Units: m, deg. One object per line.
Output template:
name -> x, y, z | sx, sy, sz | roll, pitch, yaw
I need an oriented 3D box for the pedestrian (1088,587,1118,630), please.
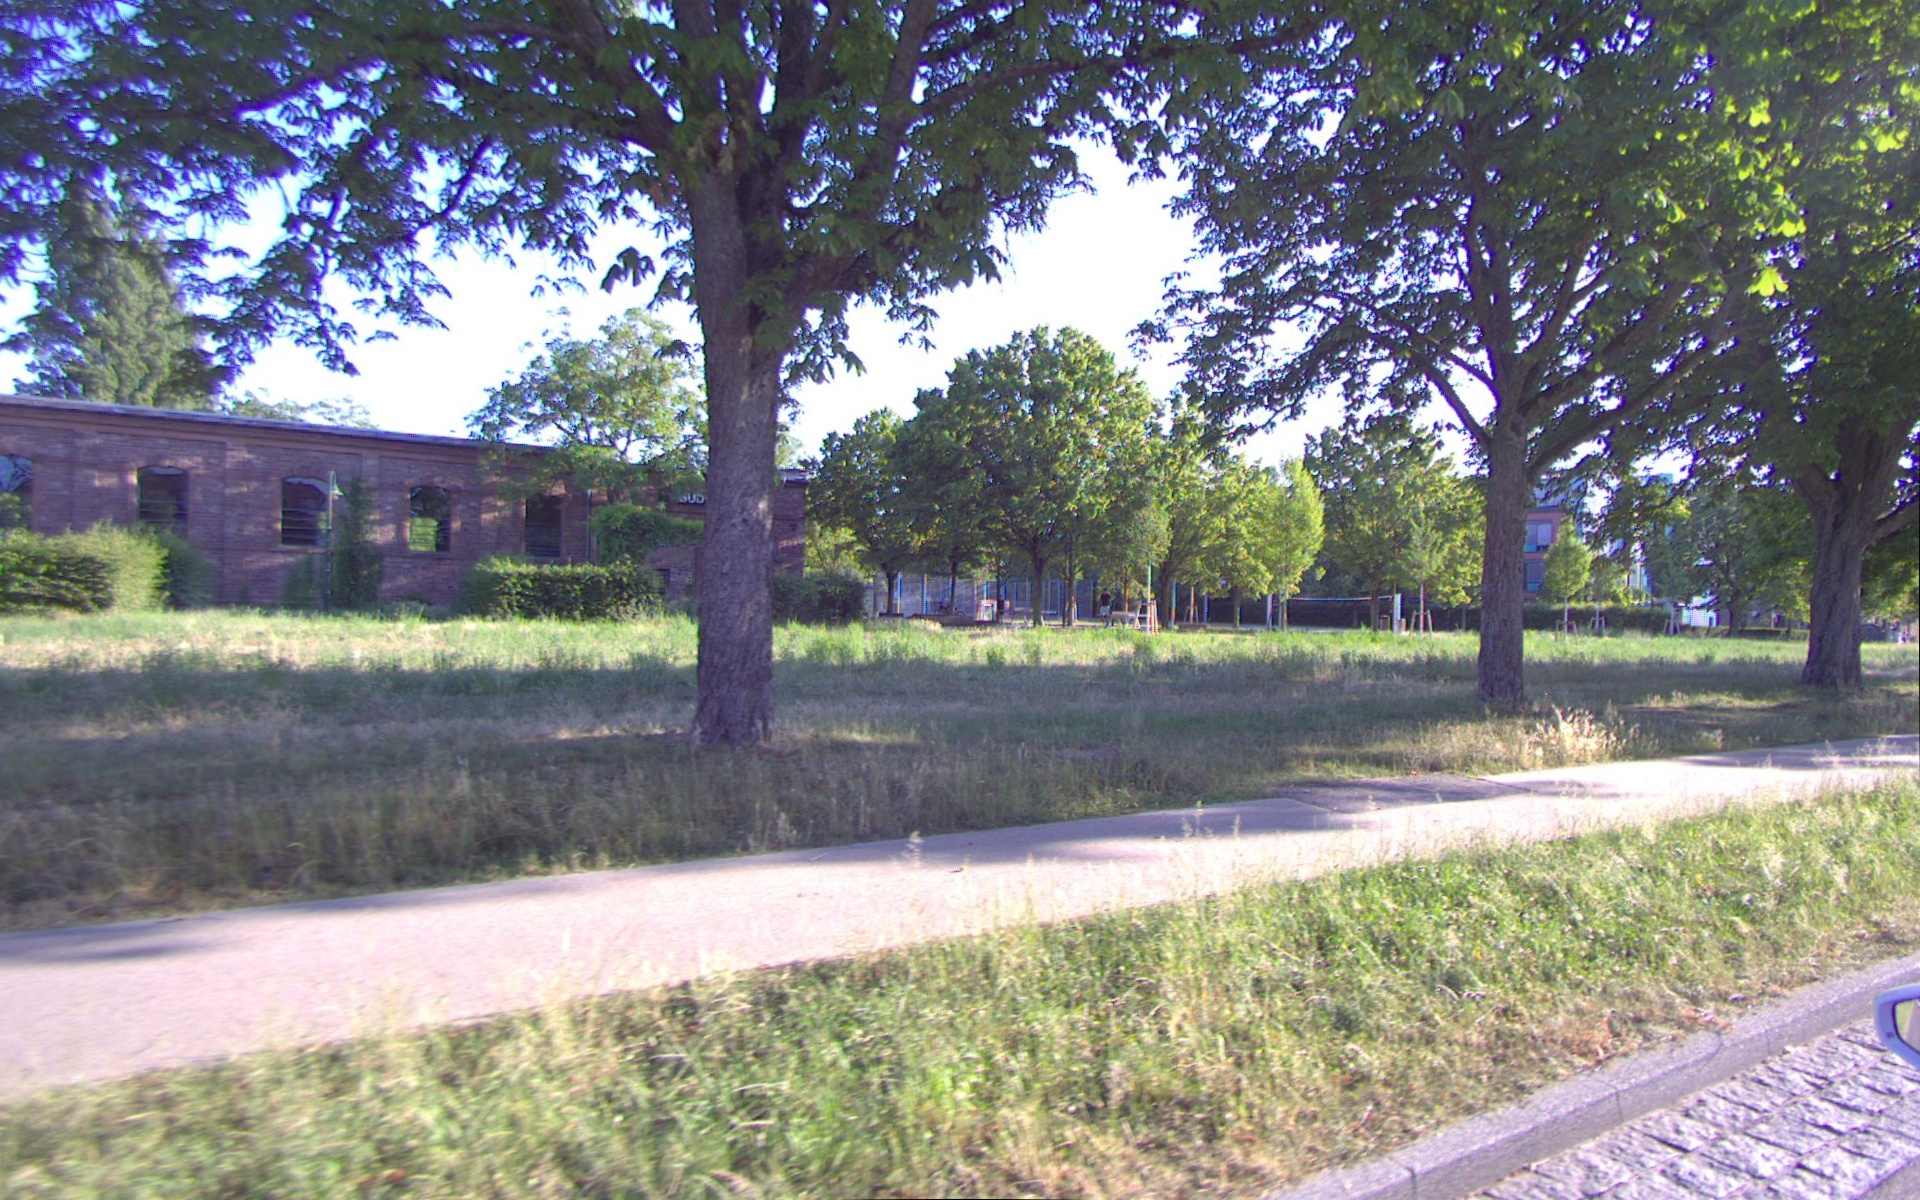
pedestrian -> 6.451, 0.369, 45.346 | 0.787, 1.906, 1.044 | 2, 1, -27

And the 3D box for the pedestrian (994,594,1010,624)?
pedestrian -> 2.106, 0.452, 50.648 | 0.497, 1.498, 0.583 | 2, 1, -39

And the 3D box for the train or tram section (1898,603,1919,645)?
train or tram section -> 98.629, 2.691, 91.448 | 3.608, 4.009, 18.944 | 2, 1, -35
